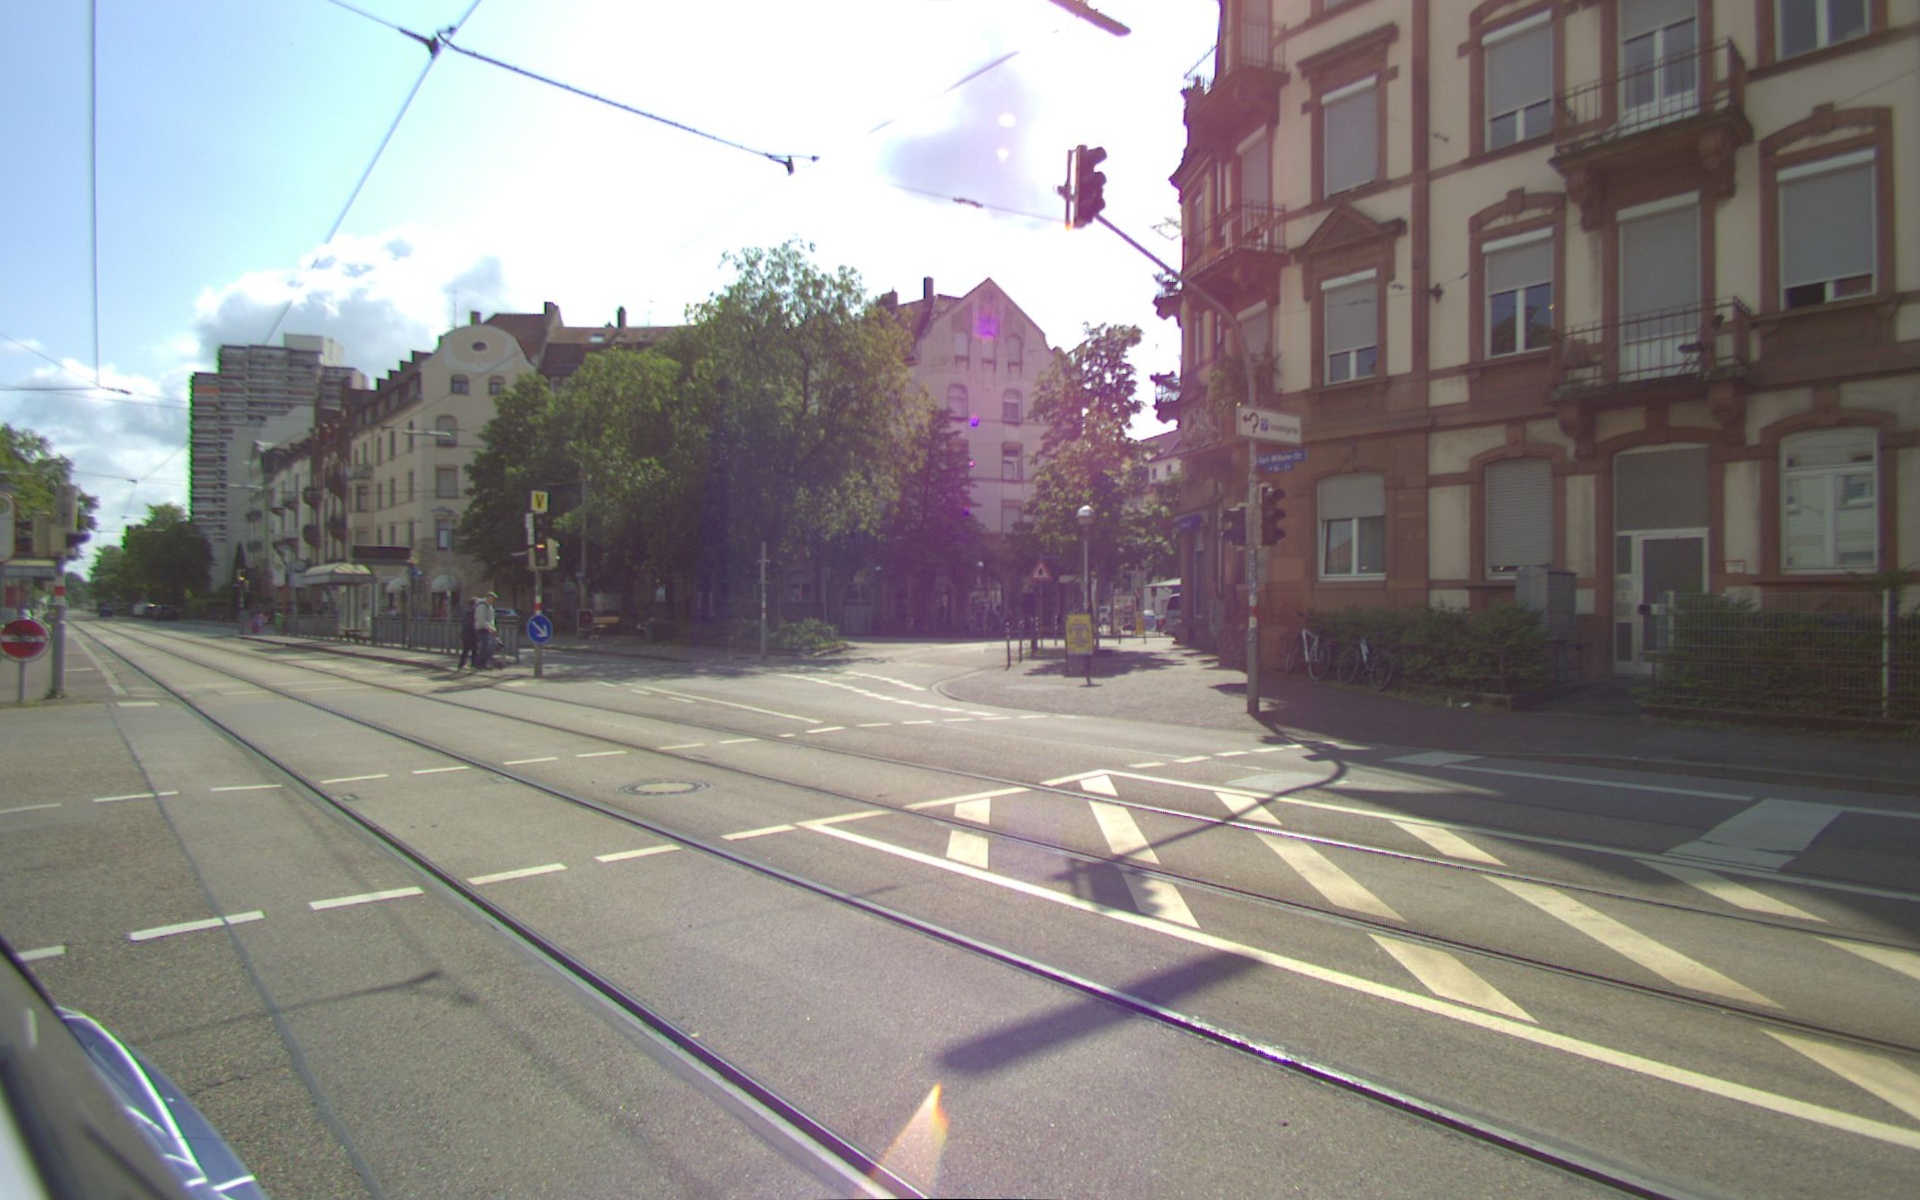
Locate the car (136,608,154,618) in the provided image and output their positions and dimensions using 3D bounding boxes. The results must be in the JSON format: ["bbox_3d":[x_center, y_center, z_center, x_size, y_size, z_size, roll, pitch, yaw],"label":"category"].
[{"bbox_3d":[-123.814,1.936,153.715,1.814,1.502,3.896,0,-1,-42],"label":"car"}]

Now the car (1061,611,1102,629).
[{"bbox_3d":[9.622,1.562,80.378,1.436,1.342,3.776,0,-1,-26],"label":"car"}]

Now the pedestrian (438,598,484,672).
[{"bbox_3d":[-10.855,0.750,22.016,0.584,1.586,0.707,-1,-1,34],"label":"pedestrian"}]

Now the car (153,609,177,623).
[{"bbox_3d":[-87.069,1.713,110.855,1.814,1.502,3.896,0,-1,-42],"label":"car"}]

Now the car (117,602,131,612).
[{"bbox_3d":[-152.613,1.345,184.727,1.814,1.823,3.896,0,-1,-42],"label":"car"}]

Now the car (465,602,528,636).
[{"bbox_3d":[-28.044,1.142,61.380,3.368,1.866,1.618,-2,1,-23],"label":"car"}]

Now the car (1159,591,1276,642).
[{"bbox_3d":[10.218,0.626,40.213,4.192,1.922,2.006,0,-1,-26],"label":"car"}]

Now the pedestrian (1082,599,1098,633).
[{"bbox_3d":[7.780,0.971,60.568,0.703,2.029,0.694,0,-1,-23],"label":"pedestrian"}]

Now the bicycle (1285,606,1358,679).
[{"bbox_3d":[6.489,0.733,18.270,0.476,1.234,1.956,0,0,-4],"label":"bicycle"}]

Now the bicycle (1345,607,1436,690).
[{"bbox_3d":[6.760,0.727,15.984,0.476,1.234,1.956,0,0,-4],"label":"bicycle"}]

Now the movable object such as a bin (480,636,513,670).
[{"bbox_3d":[-10.299,1.176,22.494,0.456,0.723,0.506,-1,-1,34],"label":"movable object such as a bin"}]

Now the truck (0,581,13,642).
[{"bbox_3d":[-45.906,0.559,46.836,2.493,2.759,6.527,0,-1,-38],"label":"truck"}]

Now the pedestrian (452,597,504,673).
[{"bbox_3d":[-10.301,0.744,21.619,0.691,1.586,0.773,-1,-1,34],"label":"pedestrian"}]
